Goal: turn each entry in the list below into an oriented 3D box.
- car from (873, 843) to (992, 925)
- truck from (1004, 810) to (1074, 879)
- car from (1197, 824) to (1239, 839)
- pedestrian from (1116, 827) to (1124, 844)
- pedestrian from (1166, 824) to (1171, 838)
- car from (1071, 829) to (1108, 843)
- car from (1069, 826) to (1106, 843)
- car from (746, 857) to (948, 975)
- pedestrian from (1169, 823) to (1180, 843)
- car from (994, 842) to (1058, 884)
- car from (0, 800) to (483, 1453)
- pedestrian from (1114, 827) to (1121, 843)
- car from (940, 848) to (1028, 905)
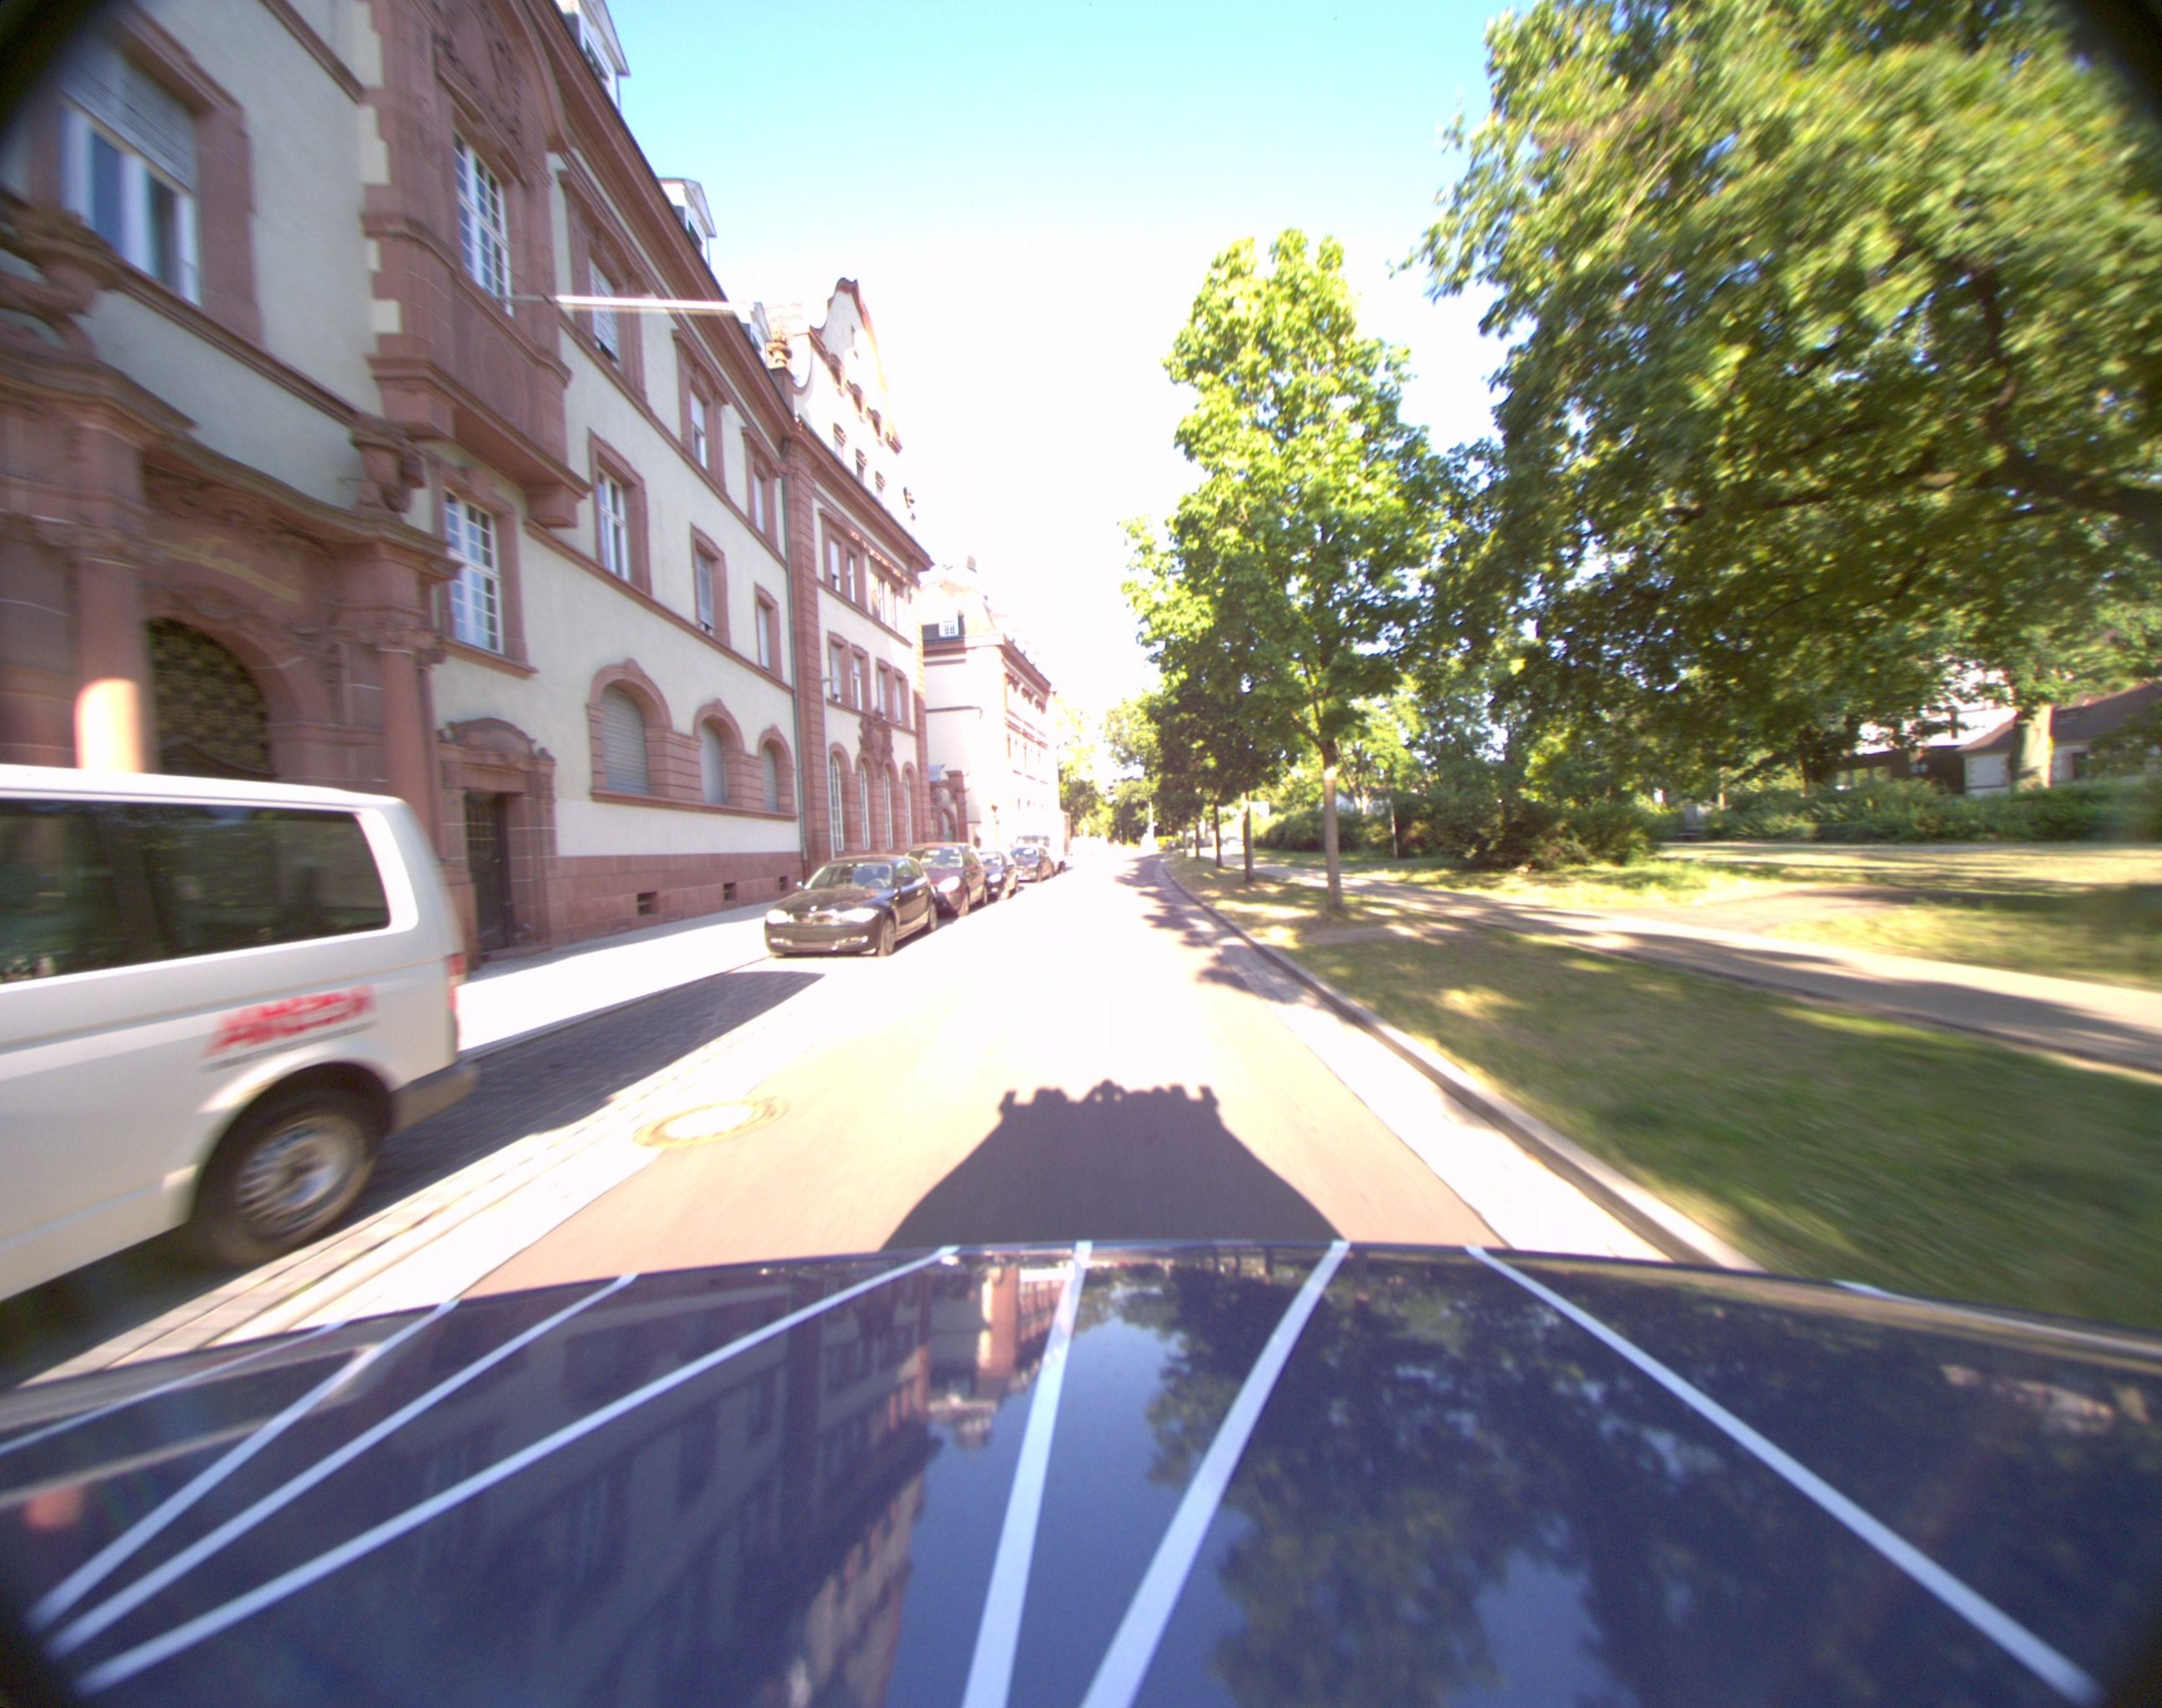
[{"bbox_3d":[-3.281,0.587,17.627,1.820,1.593,4.191,-1,2,1],"label":"car"},{"bbox_3d":[-1.950,-0.501,37.560,2.629,3.103,6.087,-1,2,5],"label":"truck"},{"bbox_3d":[17.177,-2.803,95.489,4.838,1.550,1.866,-3,1,-10],"label":"car"},{"bbox_3d":[4.480,-2.130,87.710,0.717,1.829,0.789,-3,0,-8],"label":"pedestrian"},{"bbox_3d":[11.327,-2.971,98.579,0.435,1.765,0.666,-3,2,-6],"label":"pedestrian"},{"bbox_3d":[1.075,-2.322,97.700,4.347,1.526,1.781,-3,0,-12],"label":"car"},{"bbox_3d":[1.071,-3.379,132.374,5.911,2.685,2.218,-3,2,-12],"label":"car"},{"bbox_3d":[-3.439,0.824,12.070,1.683,1.395,4.199,-1,2,3],"label":"car"},{"bbox_3d":[8.544,-1.919,69.436,0.534,1.709,1.002,-6,1,-11],"label":"pedestrian"},{"bbox_3d":[-2.193,0.308,31.669,1.772,1.522,4.573,-2,1,7],"label":"car"},{"bbox_3d":[-4.275,0.829,1.578,1.998,1.955,4.849,1,2,4],"label":"car"},{"bbox_3d":[4.286,-2.181,88.500,0.613,1.829,0.726,-3,0,-8],"label":"pedestrian"},{"bbox_3d":[-2.781,0.586,22.790,1.876,1.428,4.522,-1,2,2],"label":"car"}]
